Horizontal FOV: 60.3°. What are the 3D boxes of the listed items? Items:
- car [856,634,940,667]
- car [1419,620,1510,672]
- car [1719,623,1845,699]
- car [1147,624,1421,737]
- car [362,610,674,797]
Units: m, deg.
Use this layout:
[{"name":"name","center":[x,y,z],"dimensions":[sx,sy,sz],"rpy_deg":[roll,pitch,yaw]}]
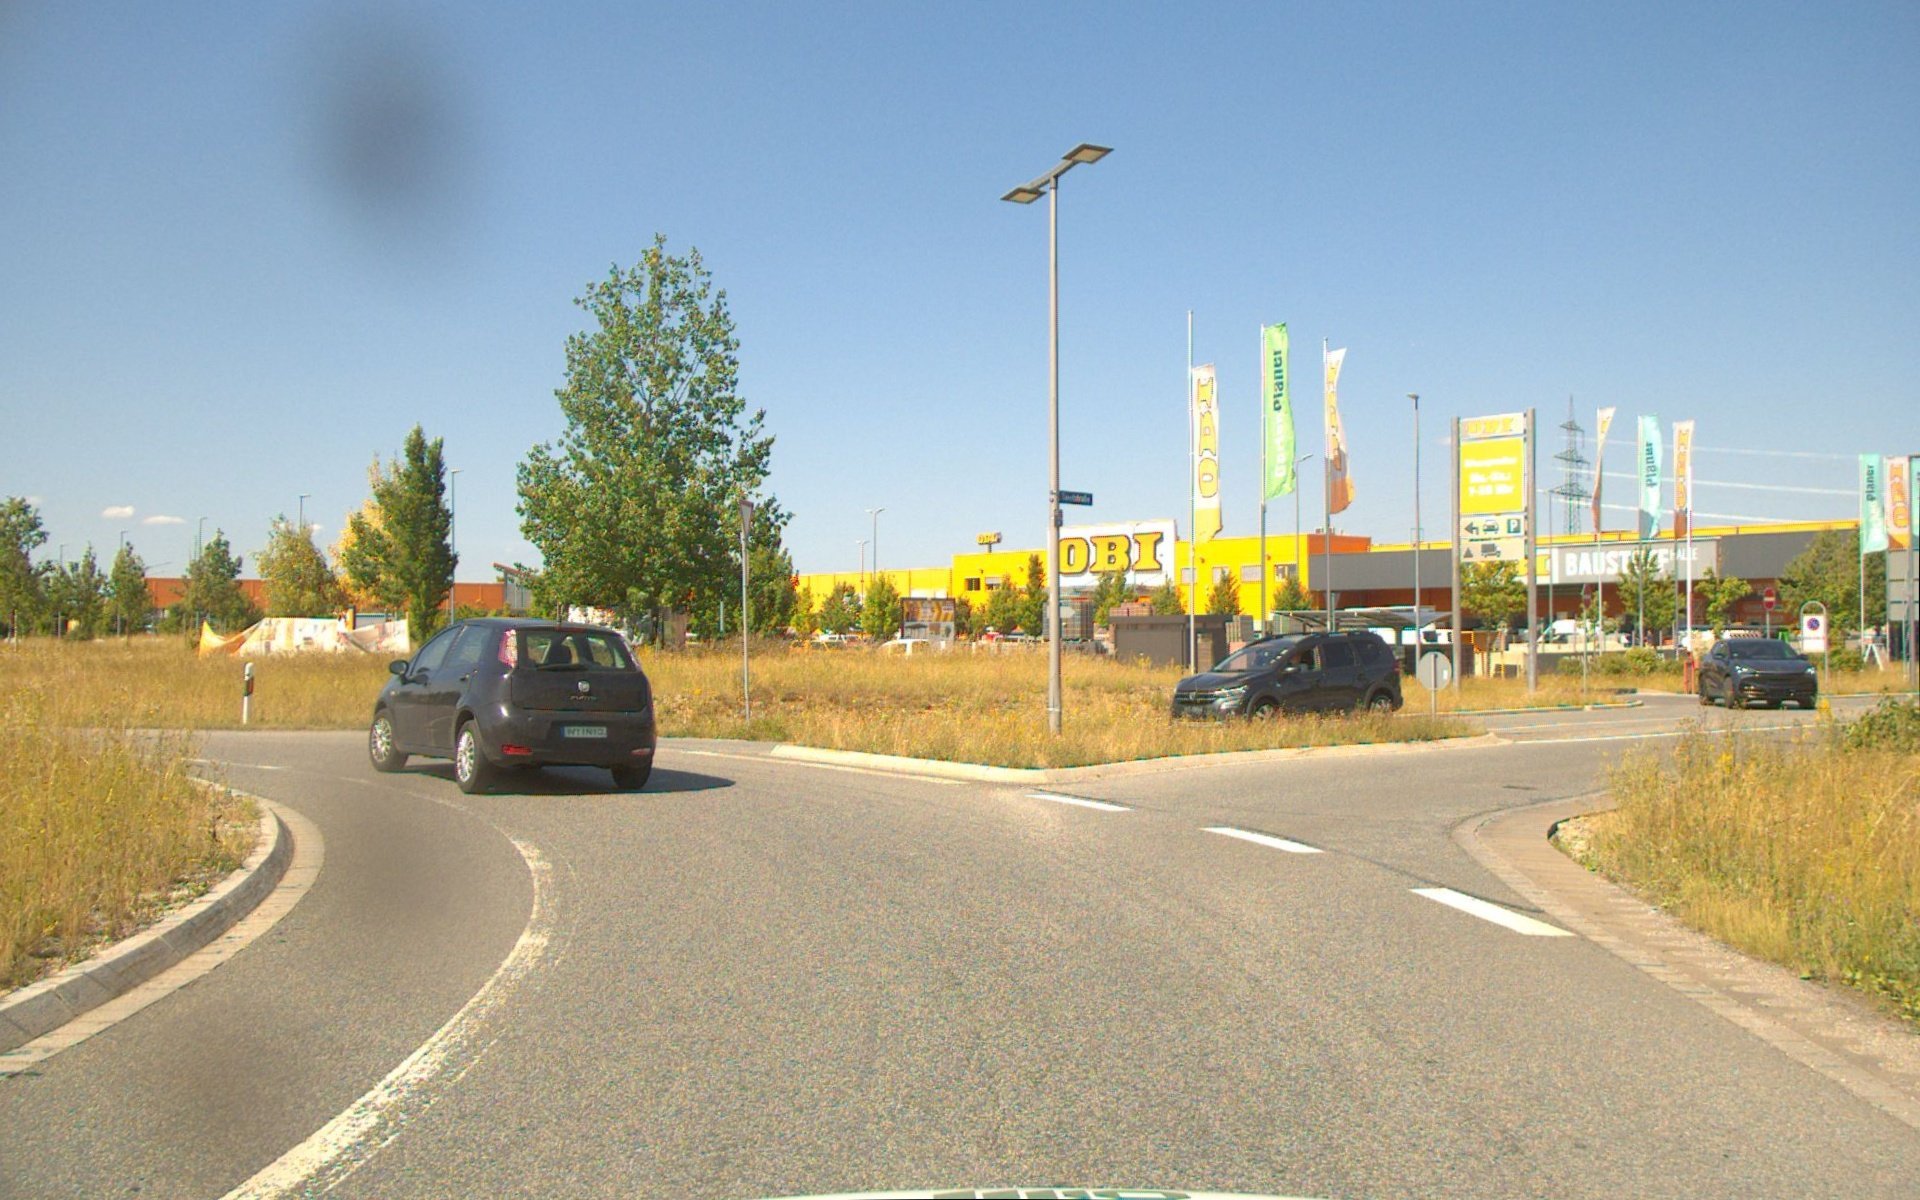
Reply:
[{"name":"car","center":[-3.126,2.527,83.230],"dimensions":[3.923,1.646,1.991],"rpy_deg":[-1,-2,38]},{"name":"car","center":[19.304,1.771,63.236],"dimensions":[3.742,1.874,1.674],"rpy_deg":[3,-3,-42]},{"name":"car","center":[19.354,1.422,38.852],"dimensions":[2.035,1.655,4.682],"rpy_deg":[-3,-3,34]},{"name":"car","center":[5.441,1.294,27.536],"dimensions":[4.578,1.736,1.931],"rpy_deg":[1,-3,-37]},{"name":"car","center":[-4.239,0.882,15.482],"dimensions":[1.625,1.514,3.857],"rpy_deg":[2,-2,-34]}]
